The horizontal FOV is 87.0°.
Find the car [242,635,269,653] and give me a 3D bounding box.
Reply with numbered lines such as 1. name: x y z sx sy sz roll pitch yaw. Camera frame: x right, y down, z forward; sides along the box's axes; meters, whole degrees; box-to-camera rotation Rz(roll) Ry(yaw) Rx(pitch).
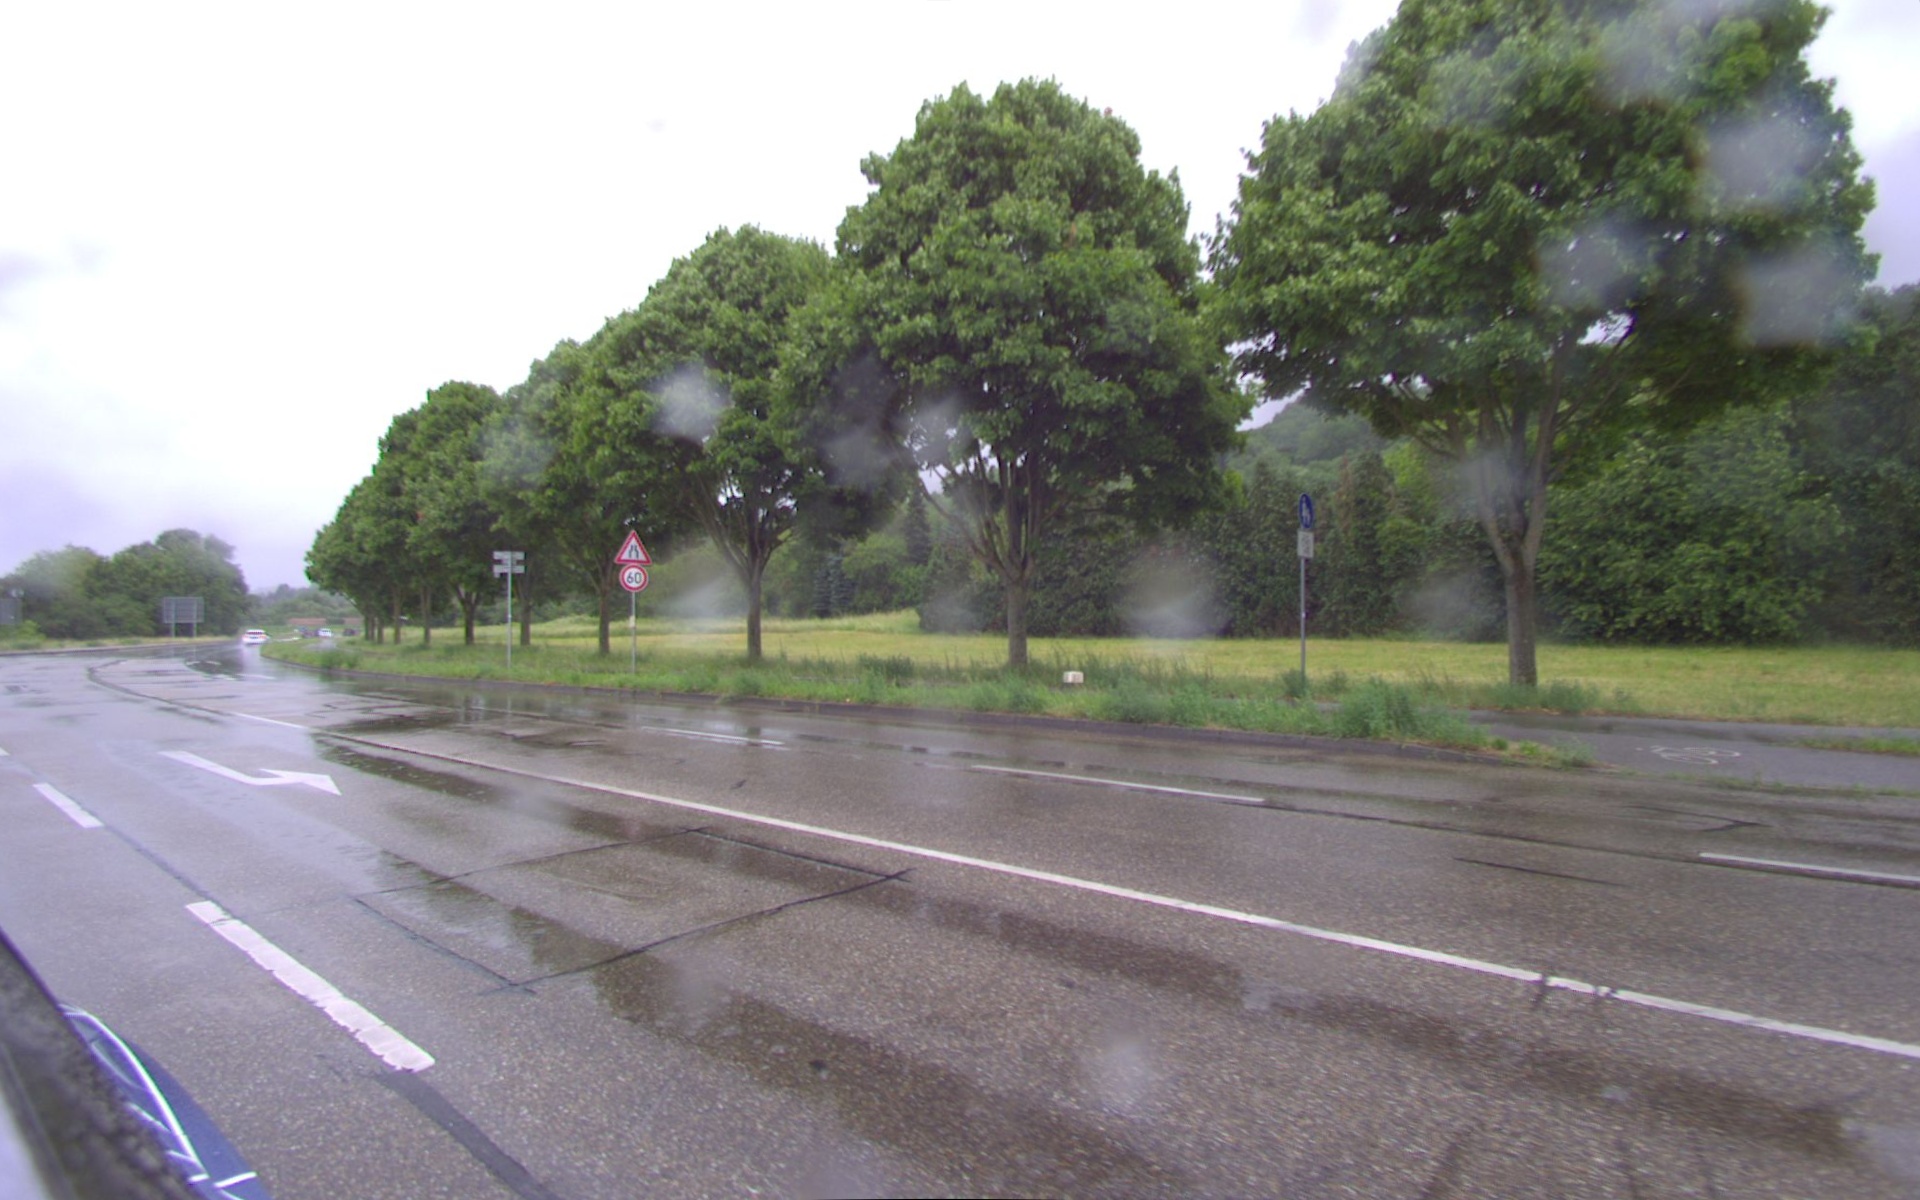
1. car: -63.954 3.956 91.917 1.853 1.585 4.657 2 -2 -33

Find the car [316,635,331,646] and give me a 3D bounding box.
1. car: -91.349 5.787 145.259 1.715 1.498 4.022 2 -2 -31

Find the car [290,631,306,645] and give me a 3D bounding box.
1. car: -93.778 5.360 143.309 1.715 2.006 4.022 2 -2 -31

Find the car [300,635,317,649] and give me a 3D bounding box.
1. car: -84.652 5.444 131.476 1.859 1.599 4.129 -2 0 -34

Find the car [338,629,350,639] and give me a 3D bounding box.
1. car: -116.548 6.456 191.446 1.897 1.756 4.301 2 -2 -31
